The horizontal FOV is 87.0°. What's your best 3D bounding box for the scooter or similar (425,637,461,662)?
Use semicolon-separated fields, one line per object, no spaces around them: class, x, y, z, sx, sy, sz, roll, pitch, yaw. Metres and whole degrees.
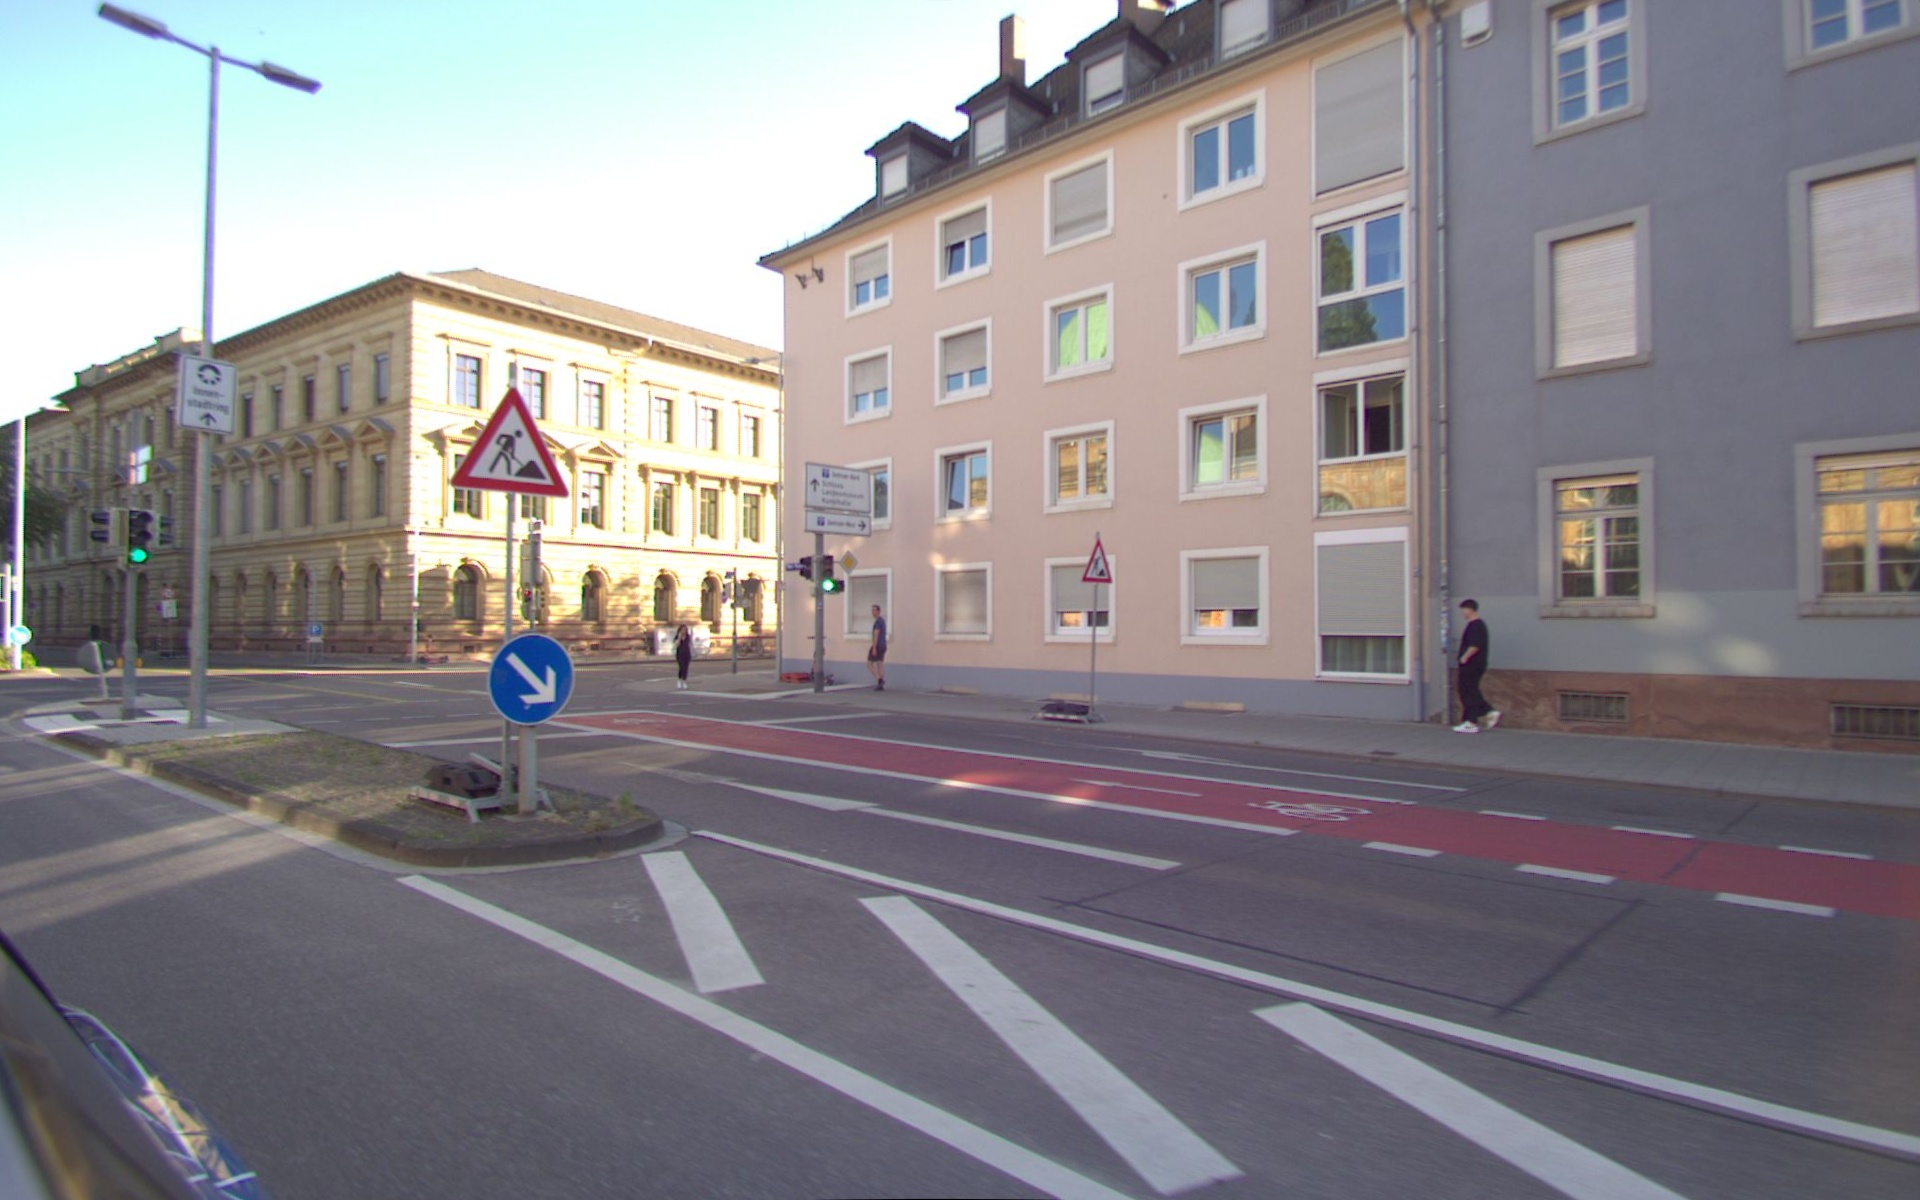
scooter or similar;-22.262;2.142;43.610;0.393;1.060;1.314;-2;-3;39

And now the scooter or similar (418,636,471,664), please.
scooter or similar;-21.803;2.108;42.834;1.998;1.197;0.457;1;-2;-26

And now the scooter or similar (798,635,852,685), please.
scooter or similar;-3.356;1.485;25.138;1.474;1.194;0.527;-2;-2;44

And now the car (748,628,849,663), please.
car;-7.687;2.143;48.601;1.999;1.584;4.623;-2;-3;41

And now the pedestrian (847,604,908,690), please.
pedestrian;-1.868;1.045;22.861;1.015;1.877;0.858;-2;0;44

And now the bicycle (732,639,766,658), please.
bicycle;-11.200;2.567;53.758;0.574;0.974;1.805;-2;-2;41

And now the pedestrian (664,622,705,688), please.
pedestrian;-6.914;1.375;25.401;0.818;1.595;0.624;-2;0;43

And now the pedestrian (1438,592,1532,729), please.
pedestrian;7.433;0.832;14.337;1.013;1.860;0.624;-2;0;43
